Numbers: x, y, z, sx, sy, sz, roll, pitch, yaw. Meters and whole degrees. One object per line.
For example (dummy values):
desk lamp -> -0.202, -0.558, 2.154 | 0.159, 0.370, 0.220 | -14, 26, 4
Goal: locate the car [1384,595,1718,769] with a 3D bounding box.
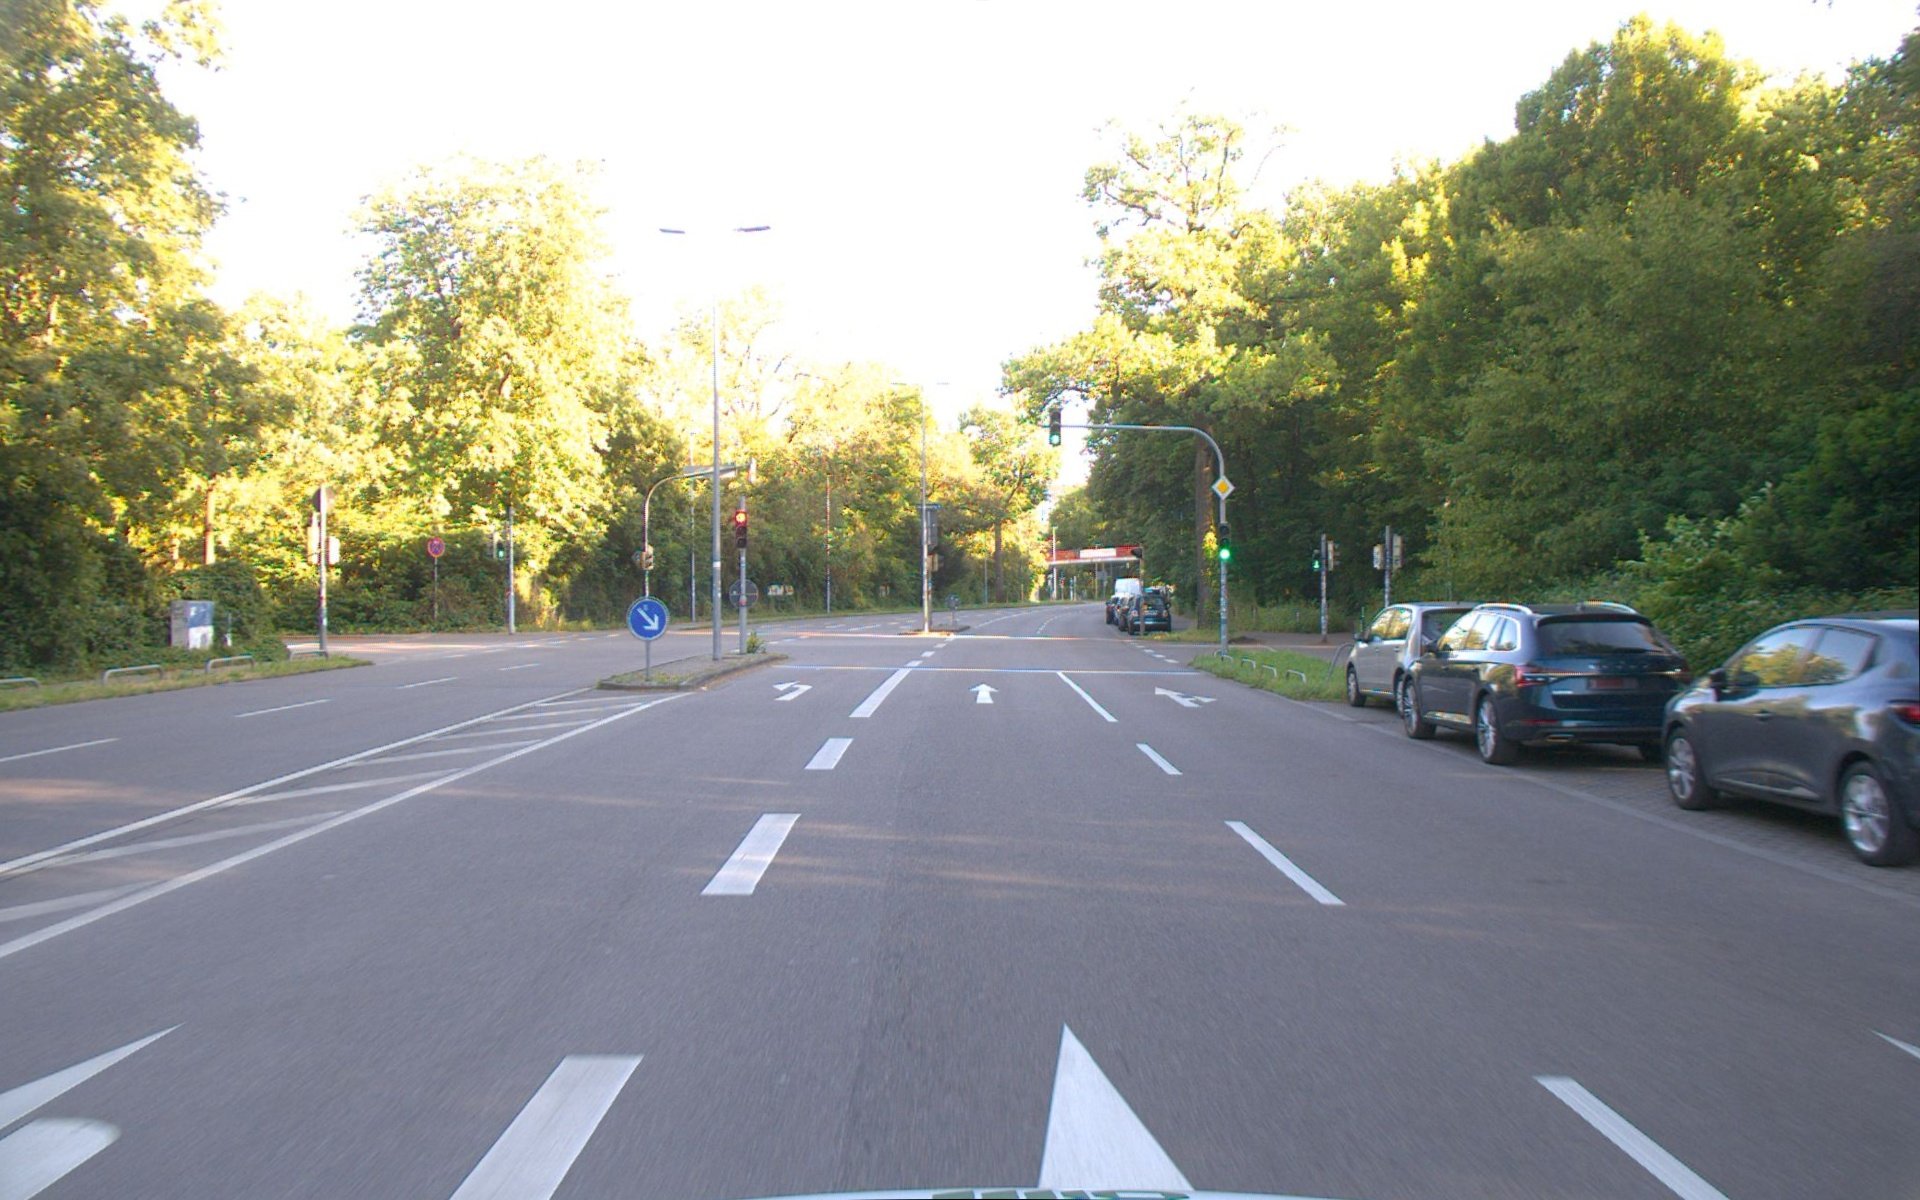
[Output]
car -> 5.861, 0.728, 17.139 | 1.725, 1.494, 5.118 | -1, 0, 1

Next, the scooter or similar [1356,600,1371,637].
scooter or similar -> 13.186, 0.598, 54.053 | 0.370, 1.164, 1.224 | 0, 0, 9

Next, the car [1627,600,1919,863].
car -> 6.177, 0.731, 11.250 | 1.637, 1.429, 4.231 | -1, 0, 1

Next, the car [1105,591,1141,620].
car -> 8.452, 0.264, 85.878 | 1.682, 1.436, 4.489 | -1, 0, 4

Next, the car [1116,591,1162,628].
car -> 7.588, 0.398, 70.337 | 1.682, 1.494, 4.990 | -1, 0, 4

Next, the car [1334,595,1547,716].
car -> 6.486, 0.704, 22.765 | 1.683, 1.494, 3.872 | -1, 0, -2

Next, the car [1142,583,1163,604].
car -> 18.007, -0.604, 154.540 | 1.721, 1.835, 4.741 | -1, 0, 9

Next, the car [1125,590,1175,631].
car -> 7.314, 0.394, 63.885 | 1.682, 1.494, 3.758 | -1, 0, 4

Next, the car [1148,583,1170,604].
car -> 20.155, -0.622, 167.020 | 1.829, 2.016, 5.479 | -1, 0, 11

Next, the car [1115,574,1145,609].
car -> 12.303, -0.594, 119.710 | 1.863, 2.466, 5.580 | -1, 0, 8
